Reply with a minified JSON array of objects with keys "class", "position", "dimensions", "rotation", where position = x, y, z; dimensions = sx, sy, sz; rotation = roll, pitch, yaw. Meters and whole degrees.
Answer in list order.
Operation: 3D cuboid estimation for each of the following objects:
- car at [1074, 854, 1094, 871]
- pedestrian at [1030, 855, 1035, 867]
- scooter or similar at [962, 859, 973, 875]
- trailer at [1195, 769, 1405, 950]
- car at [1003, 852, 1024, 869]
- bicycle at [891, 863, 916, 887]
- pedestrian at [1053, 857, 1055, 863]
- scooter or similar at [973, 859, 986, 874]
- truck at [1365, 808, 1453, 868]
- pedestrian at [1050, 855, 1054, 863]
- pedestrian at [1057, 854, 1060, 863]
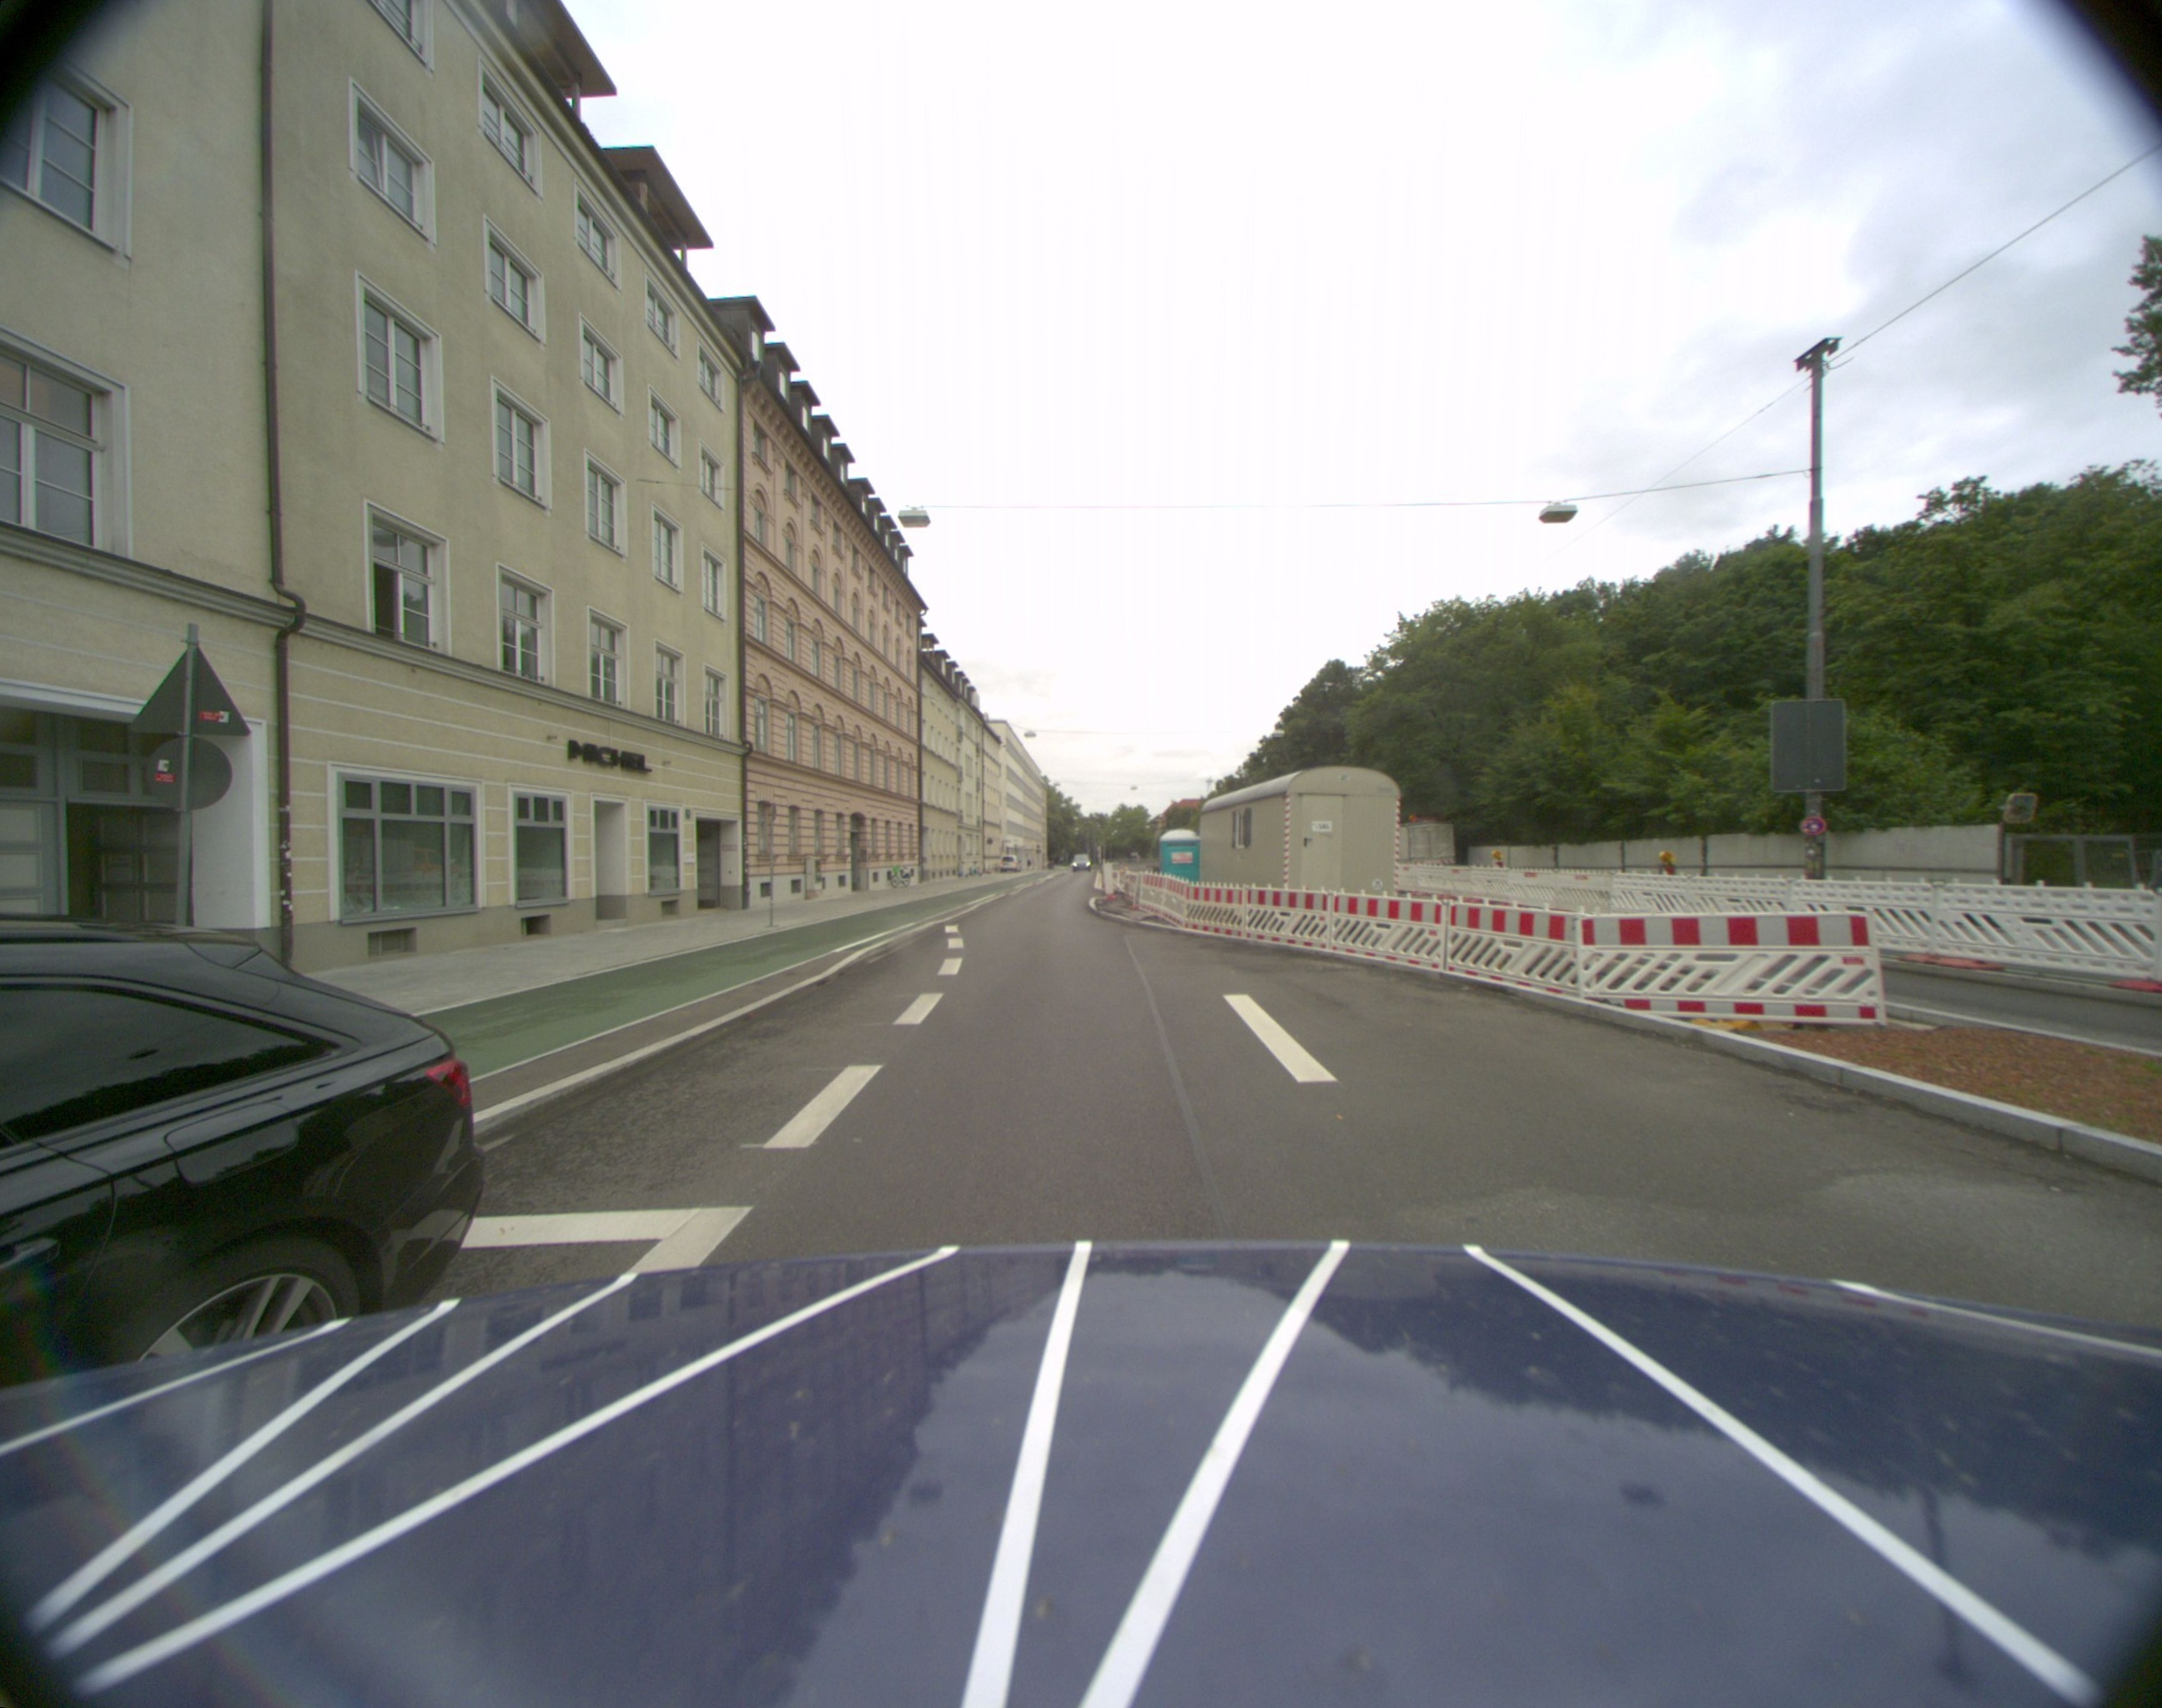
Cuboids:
[{"class":"car","position":[0.318,0.862,82.417],"dimensions":[1.998,1.738,4.000],"rotation":[-2,0,0]},{"class":"pedestrian","position":[-6.787,0.986,106.258],"dimensions":[0.666,1.626,0.737],"rotation":[0,0,1]},{"class":"scooter or similar","position":[-8.758,1.008,58.540],"dimensions":[0.246,1.224,1.121],"rotation":[2,1,27]},{"class":"trailer","position":[4.507,0.095,17.401],"dimensions":[2.233,3.224,7.516],"rotation":[-1,0,-3]},{"class":"car","position":[-7.146,0.699,81.262],"dimensions":[1.737,1.739,4.436],"rotation":[0,0,2]},{"class":"bicycle","position":[-9.344,1.093,39.973],"dimensions":[0.426,1.167,1.734],"rotation":[0,0,19]},{"class":"pedestrian","position":[-5.264,1.206,149.950],"dimensions":[0.368,1.239,0.470],"rotation":[-1,1,2]},{"class":"scooter or similar","position":[-8.472,1.022,63.449],"dimensions":[1.121,1.224,0.246],"rotation":[1,1,-32]},{"class":"truck","position":[16.218,-0.728,37.947],"dimensions":[1.998,2.712,5.871],"rotation":[-1,0,2]},{"class":"pedestrian","position":[-5.884,1.031,152.707],"dimensions":[0.754,1.610,0.704],"rotation":[-1,1,2]},{"class":"pedestrian","position":[-4.459,0.881,149.771],"dimensions":[0.514,1.825,0.602],"rotation":[-1,1,2]}]
